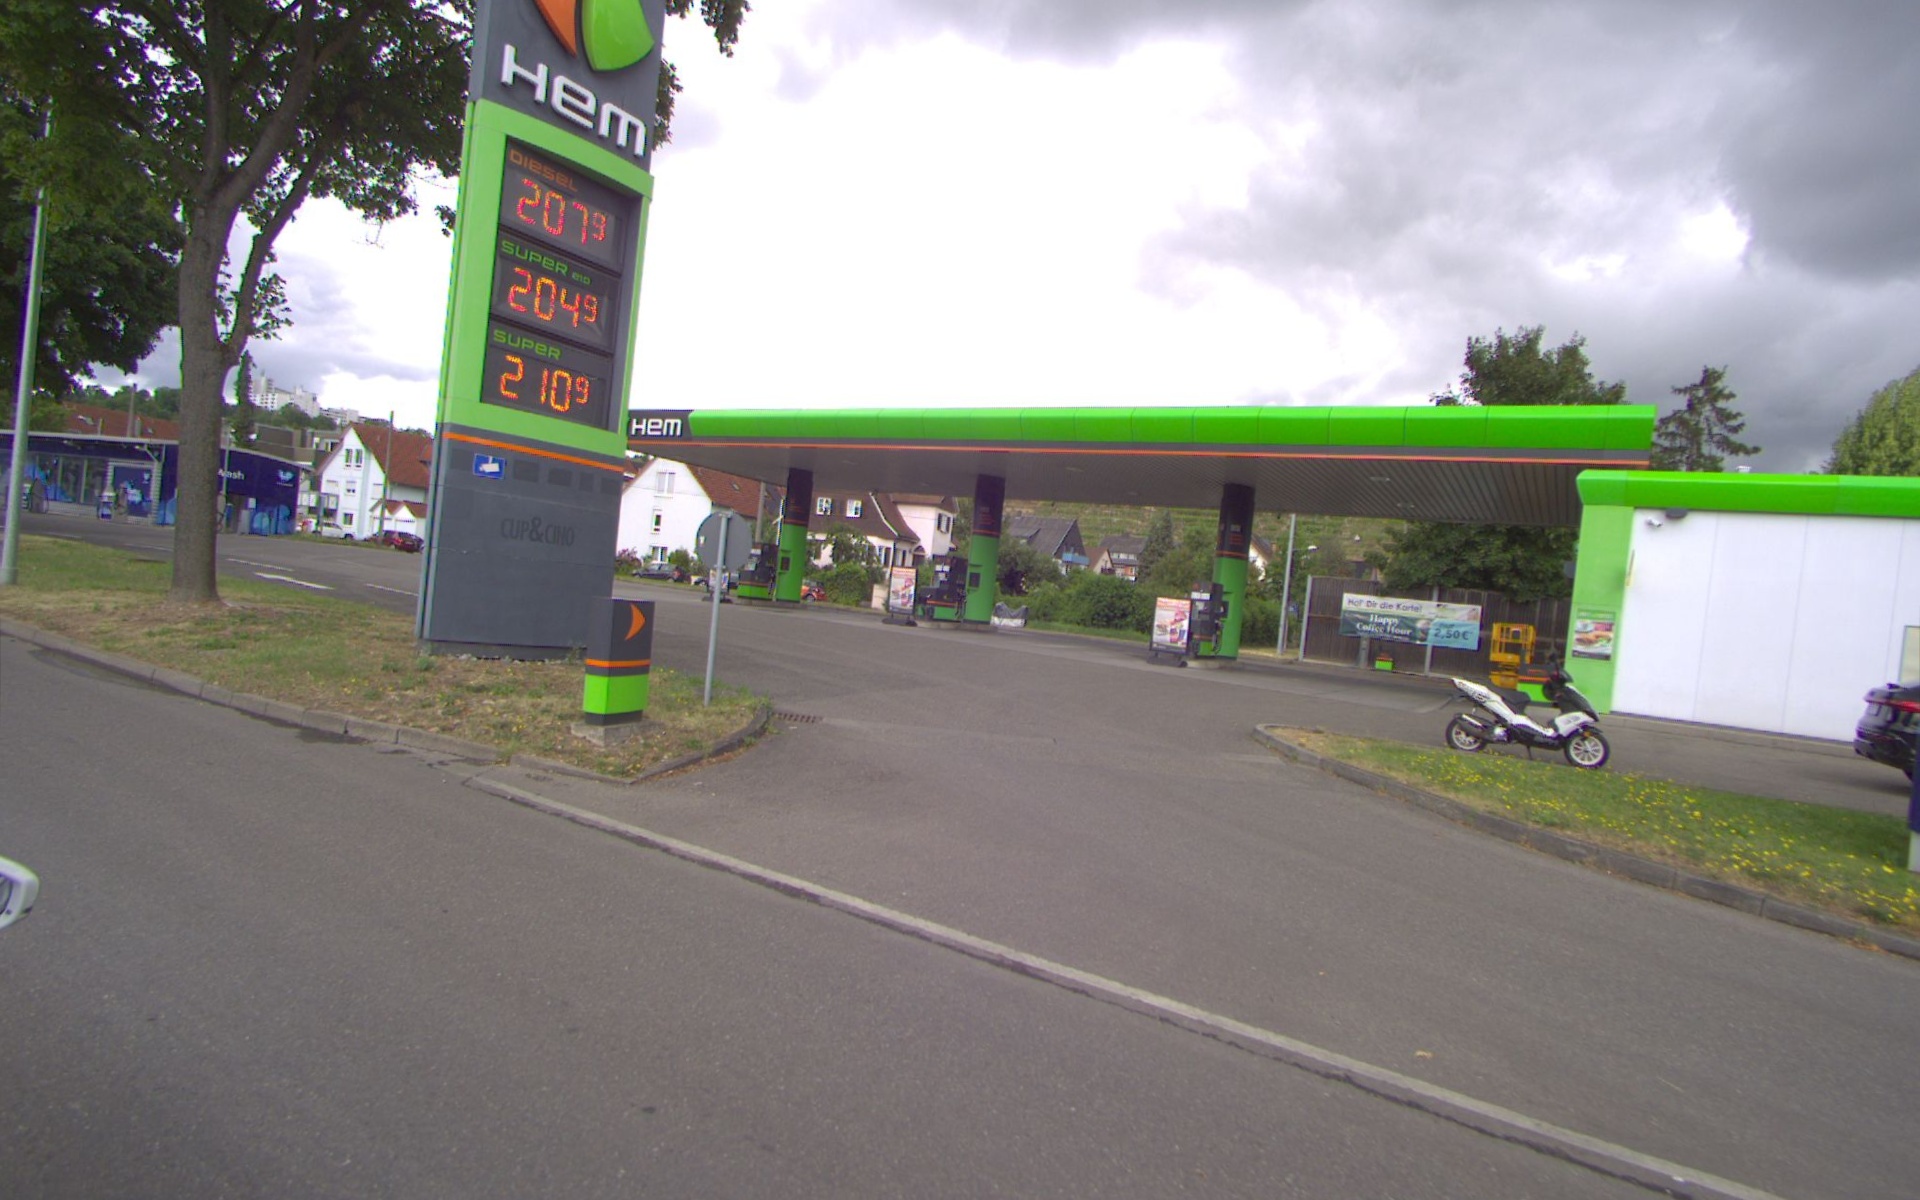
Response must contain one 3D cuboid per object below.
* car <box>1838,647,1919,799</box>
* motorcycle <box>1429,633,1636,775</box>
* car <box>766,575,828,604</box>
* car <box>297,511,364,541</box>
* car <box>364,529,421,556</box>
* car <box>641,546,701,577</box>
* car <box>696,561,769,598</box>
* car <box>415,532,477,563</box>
[{"bbox_3d":[12.950,1.607,11.319,4.267,1.697,1.820,6,2,33],"label":"car"},{"bbox_3d":[6.790,1.192,12.006,1.957,1.348,0.856,7,1,32],"label":"motorcycle"},{"bbox_3d":[-9.768,-0.632,60.442,3.273,1.279,1.421,7,-1,19],"label":"car"},{"bbox_3d":[-51.550,-6.040,82.505,1.747,1.704,4.225,7,-2,29],"label":"car"},{"bbox_3d":[-40.054,-4.087,71.000,3.354,1.411,1.587,7,-1,19],"label":"car"},{"bbox_3d":[-20.275,-2.726,70.588,3.934,1.705,1.691,7,1,32],"label":"car"},{"bbox_3d":[-13.965,-1.246,61.777,3.925,1.709,1.762,7,-1,19],"label":"car"},{"bbox_3d":[-35.375,-3.634,69.247,3.667,1.618,1.539,7,-1,19],"label":"car"}]
